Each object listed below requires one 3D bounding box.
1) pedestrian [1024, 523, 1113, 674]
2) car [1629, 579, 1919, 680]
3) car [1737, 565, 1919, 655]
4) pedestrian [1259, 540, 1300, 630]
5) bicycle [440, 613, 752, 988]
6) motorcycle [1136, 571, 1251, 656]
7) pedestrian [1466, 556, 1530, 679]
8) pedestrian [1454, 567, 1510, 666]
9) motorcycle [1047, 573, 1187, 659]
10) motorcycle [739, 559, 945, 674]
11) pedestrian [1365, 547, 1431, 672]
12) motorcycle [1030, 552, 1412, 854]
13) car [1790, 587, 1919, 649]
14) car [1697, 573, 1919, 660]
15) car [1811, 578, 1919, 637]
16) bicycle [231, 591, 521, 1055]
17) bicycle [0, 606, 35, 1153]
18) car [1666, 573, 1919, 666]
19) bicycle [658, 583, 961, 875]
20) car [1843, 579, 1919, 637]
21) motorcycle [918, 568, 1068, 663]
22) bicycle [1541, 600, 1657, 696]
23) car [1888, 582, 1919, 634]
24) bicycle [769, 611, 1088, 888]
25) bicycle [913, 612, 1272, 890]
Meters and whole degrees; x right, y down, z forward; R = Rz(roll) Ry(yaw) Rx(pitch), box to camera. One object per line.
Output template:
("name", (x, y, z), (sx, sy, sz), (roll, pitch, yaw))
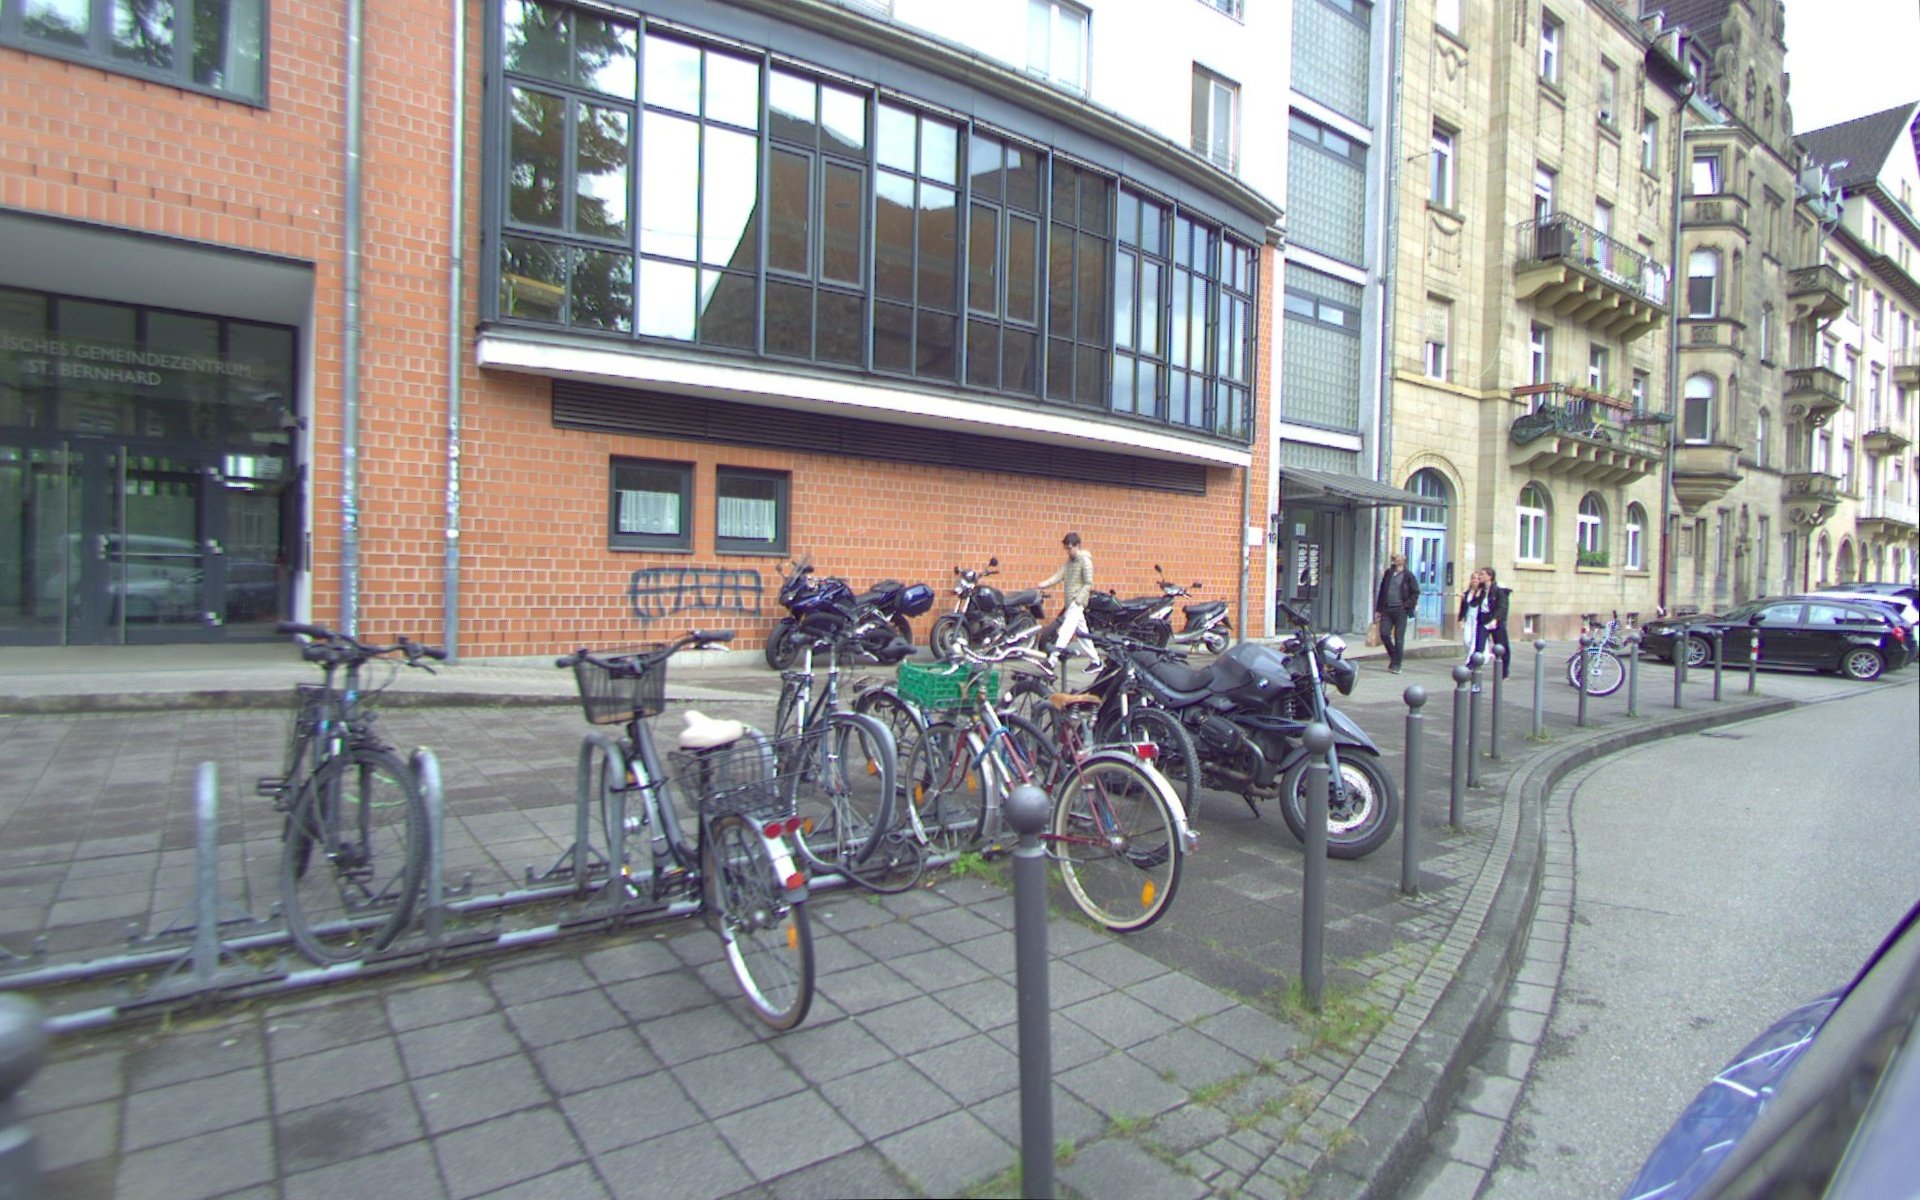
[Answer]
("pedestrian", (1.339, -0.035, 12.512), (0.797, 1.774, 0.631), (0, 4, -40))
("car", (15.646, 0.504, 19.496), (4.211, 1.496, 1.673), (5, 3, 21))
("car", (22.173, 0.247, 24.941), (4.218, 1.929, 1.873), (4, 3, 13))
("pedestrian", (6.371, -0.312, 20.192), (0.558, 1.765, 0.541), (-1, 2, -37))
("bicycle", (-1.566, 0.648, 4.122), (0.601, 1.056, 1.888), (-1, 4, -39))
("motorcycle", (3.594, 0.206, 15.609), (1.534, 1.208, 0.604), (3, 2, -14))
("pedestrian", (7.656, 0.224, 14.404), (0.704, 1.682, 0.519), (-1, 4, -40))
("pedestrian", (8.402, 0.244, 16.286), (0.704, 1.528, 0.519), (-1, 4, -40))
("motorcycle", (2.231, 0.221, 14.455), (1.843, 1.157, 0.604), (1, 2, -11))
("motorcycle", (-1.374, 0.163, 11.959), (2.168, 1.217, 1.031), (0, 3, -37))
("pedestrian", (6.480, 0.120, 14.967), (0.531, 1.792, 0.645), (-1, 4, -38))
("motorcycle", (1.435, 0.459, 6.011), (0.757, 1.447, 2.139), (-1, 4, -39))
("car", (26.681, 0.542, 28.705), (4.402, 1.571, 1.844), (3, 2, 15))
("car", (19.661, 0.349, 23.207), (3.942, 1.620, 1.759), (5, 3, 14))
("car", (28.859, 0.293, 30.533), (4.403, 1.593, 1.739), (4, 3, 15))
("bicycle", (-2.166, 0.593, 3.628), (0.601, 1.154, 1.888), (-1, 4, -39))
("bicycle", (-2.368, 0.651, 2.050), (0.601, 1.154, 1.888), (-1, 4, -39))
("car", (17.725, 0.349, 21.582), (3.959, 1.552, 1.916), (5, 3, 25))
("bicycle", (-0.834, 0.504, 5.005), (0.601, 1.090, 1.934), (-1, 4, -38))
("car", (31.682, 0.346, 32.340), (4.690, 1.705, 1.927), (4, 4, 18))
("motorcycle", (0.461, 0.183, 13.381), (2.032, 1.157, 0.603), (0, 3, -37))
("bicycle", (8.658, 0.611, 13.795), (0.719, 1.117, 1.731), (3, 3, 12))
("car", (34.468, 0.366, 34.103), (4.172, 1.702, 1.904), (3, 3, 20))
("bicycle", (-0.255, 0.656, 5.277), (0.601, 1.056, 1.934), (-1, 4, -39))
("bicycle", (0.598, 0.674, 5.384), (0.601, 1.075, 2.014), (-1, 4, -39))
